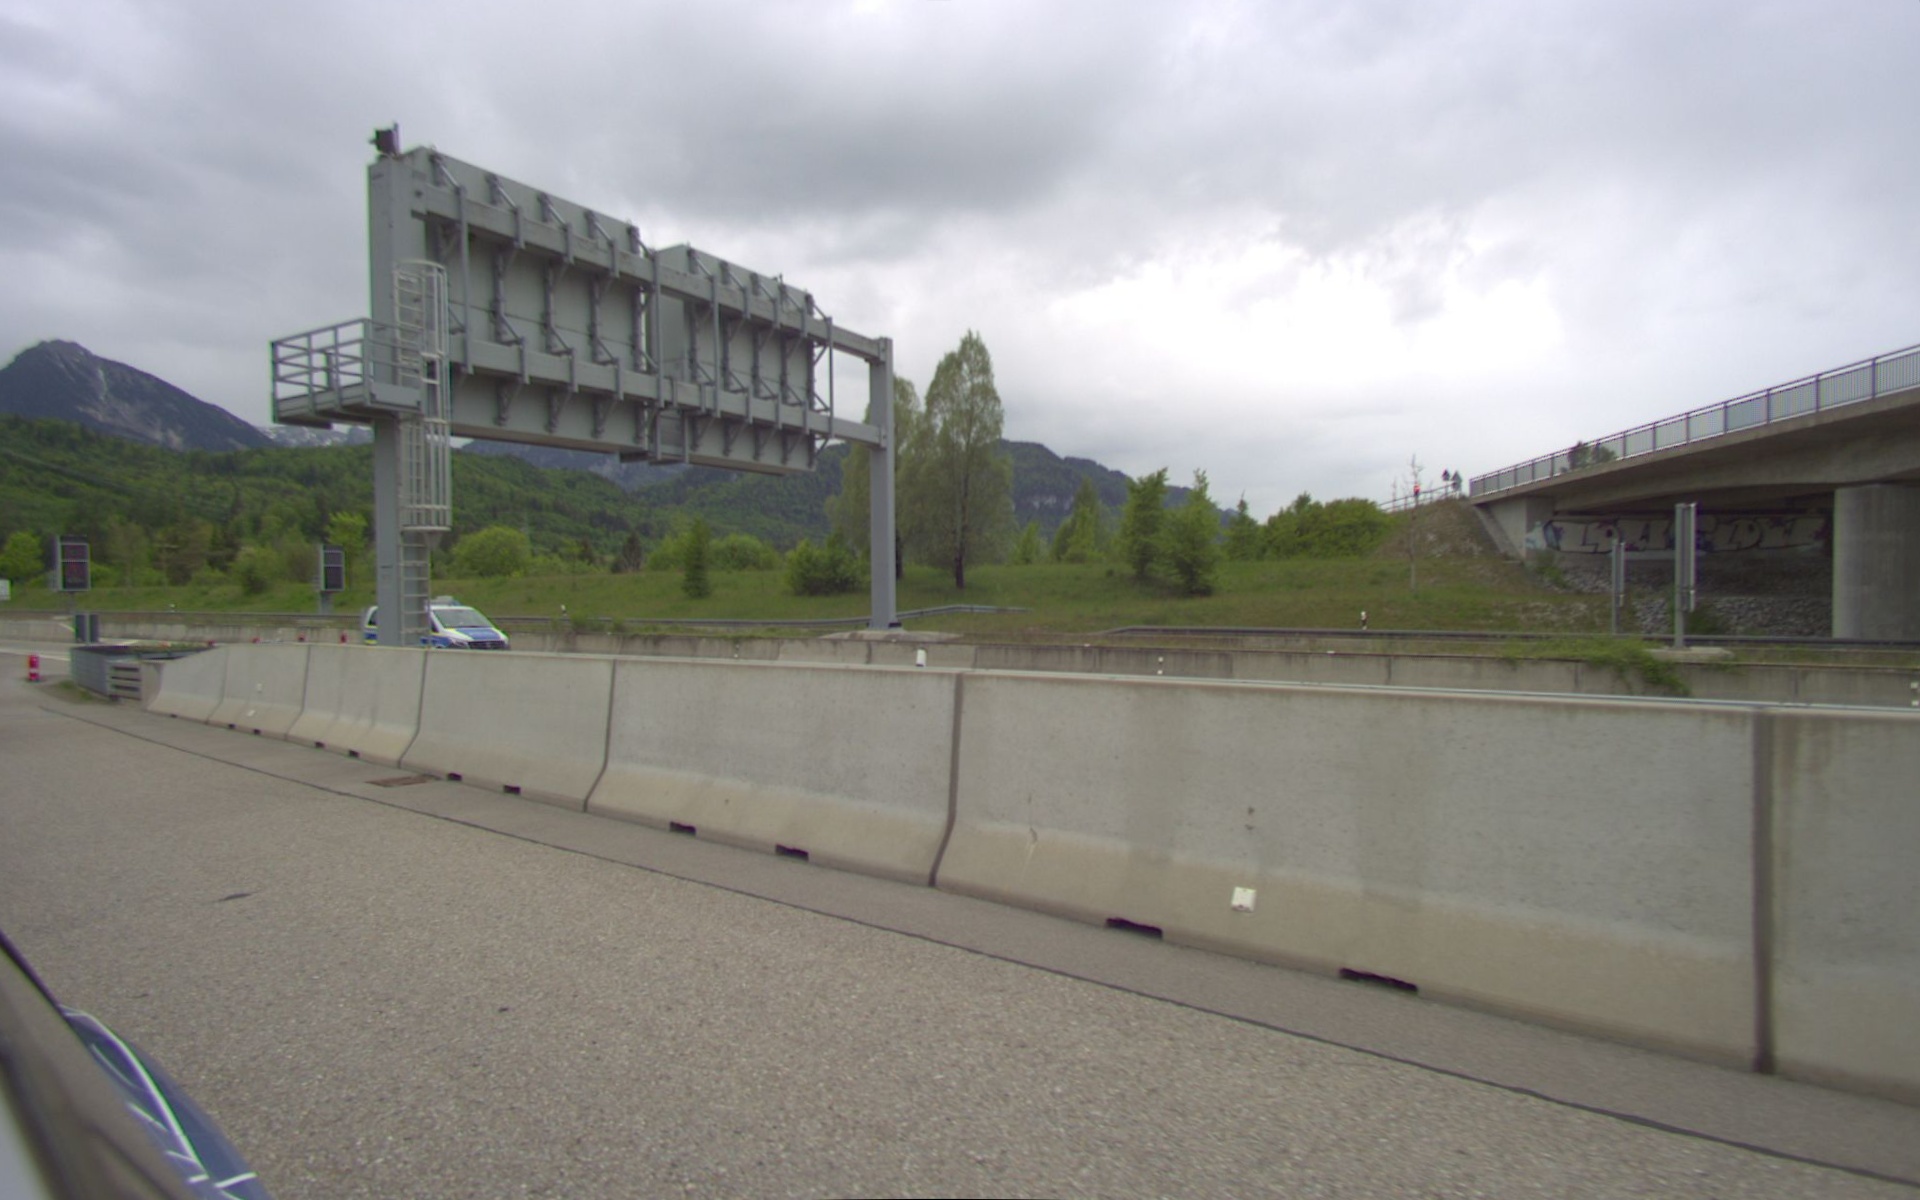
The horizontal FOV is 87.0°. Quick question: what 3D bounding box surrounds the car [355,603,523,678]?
[{"bbox_3d":[-15.254,1.116,29.547,5.035,2.029,2.082,0,-1,32],"label":"car"}]
